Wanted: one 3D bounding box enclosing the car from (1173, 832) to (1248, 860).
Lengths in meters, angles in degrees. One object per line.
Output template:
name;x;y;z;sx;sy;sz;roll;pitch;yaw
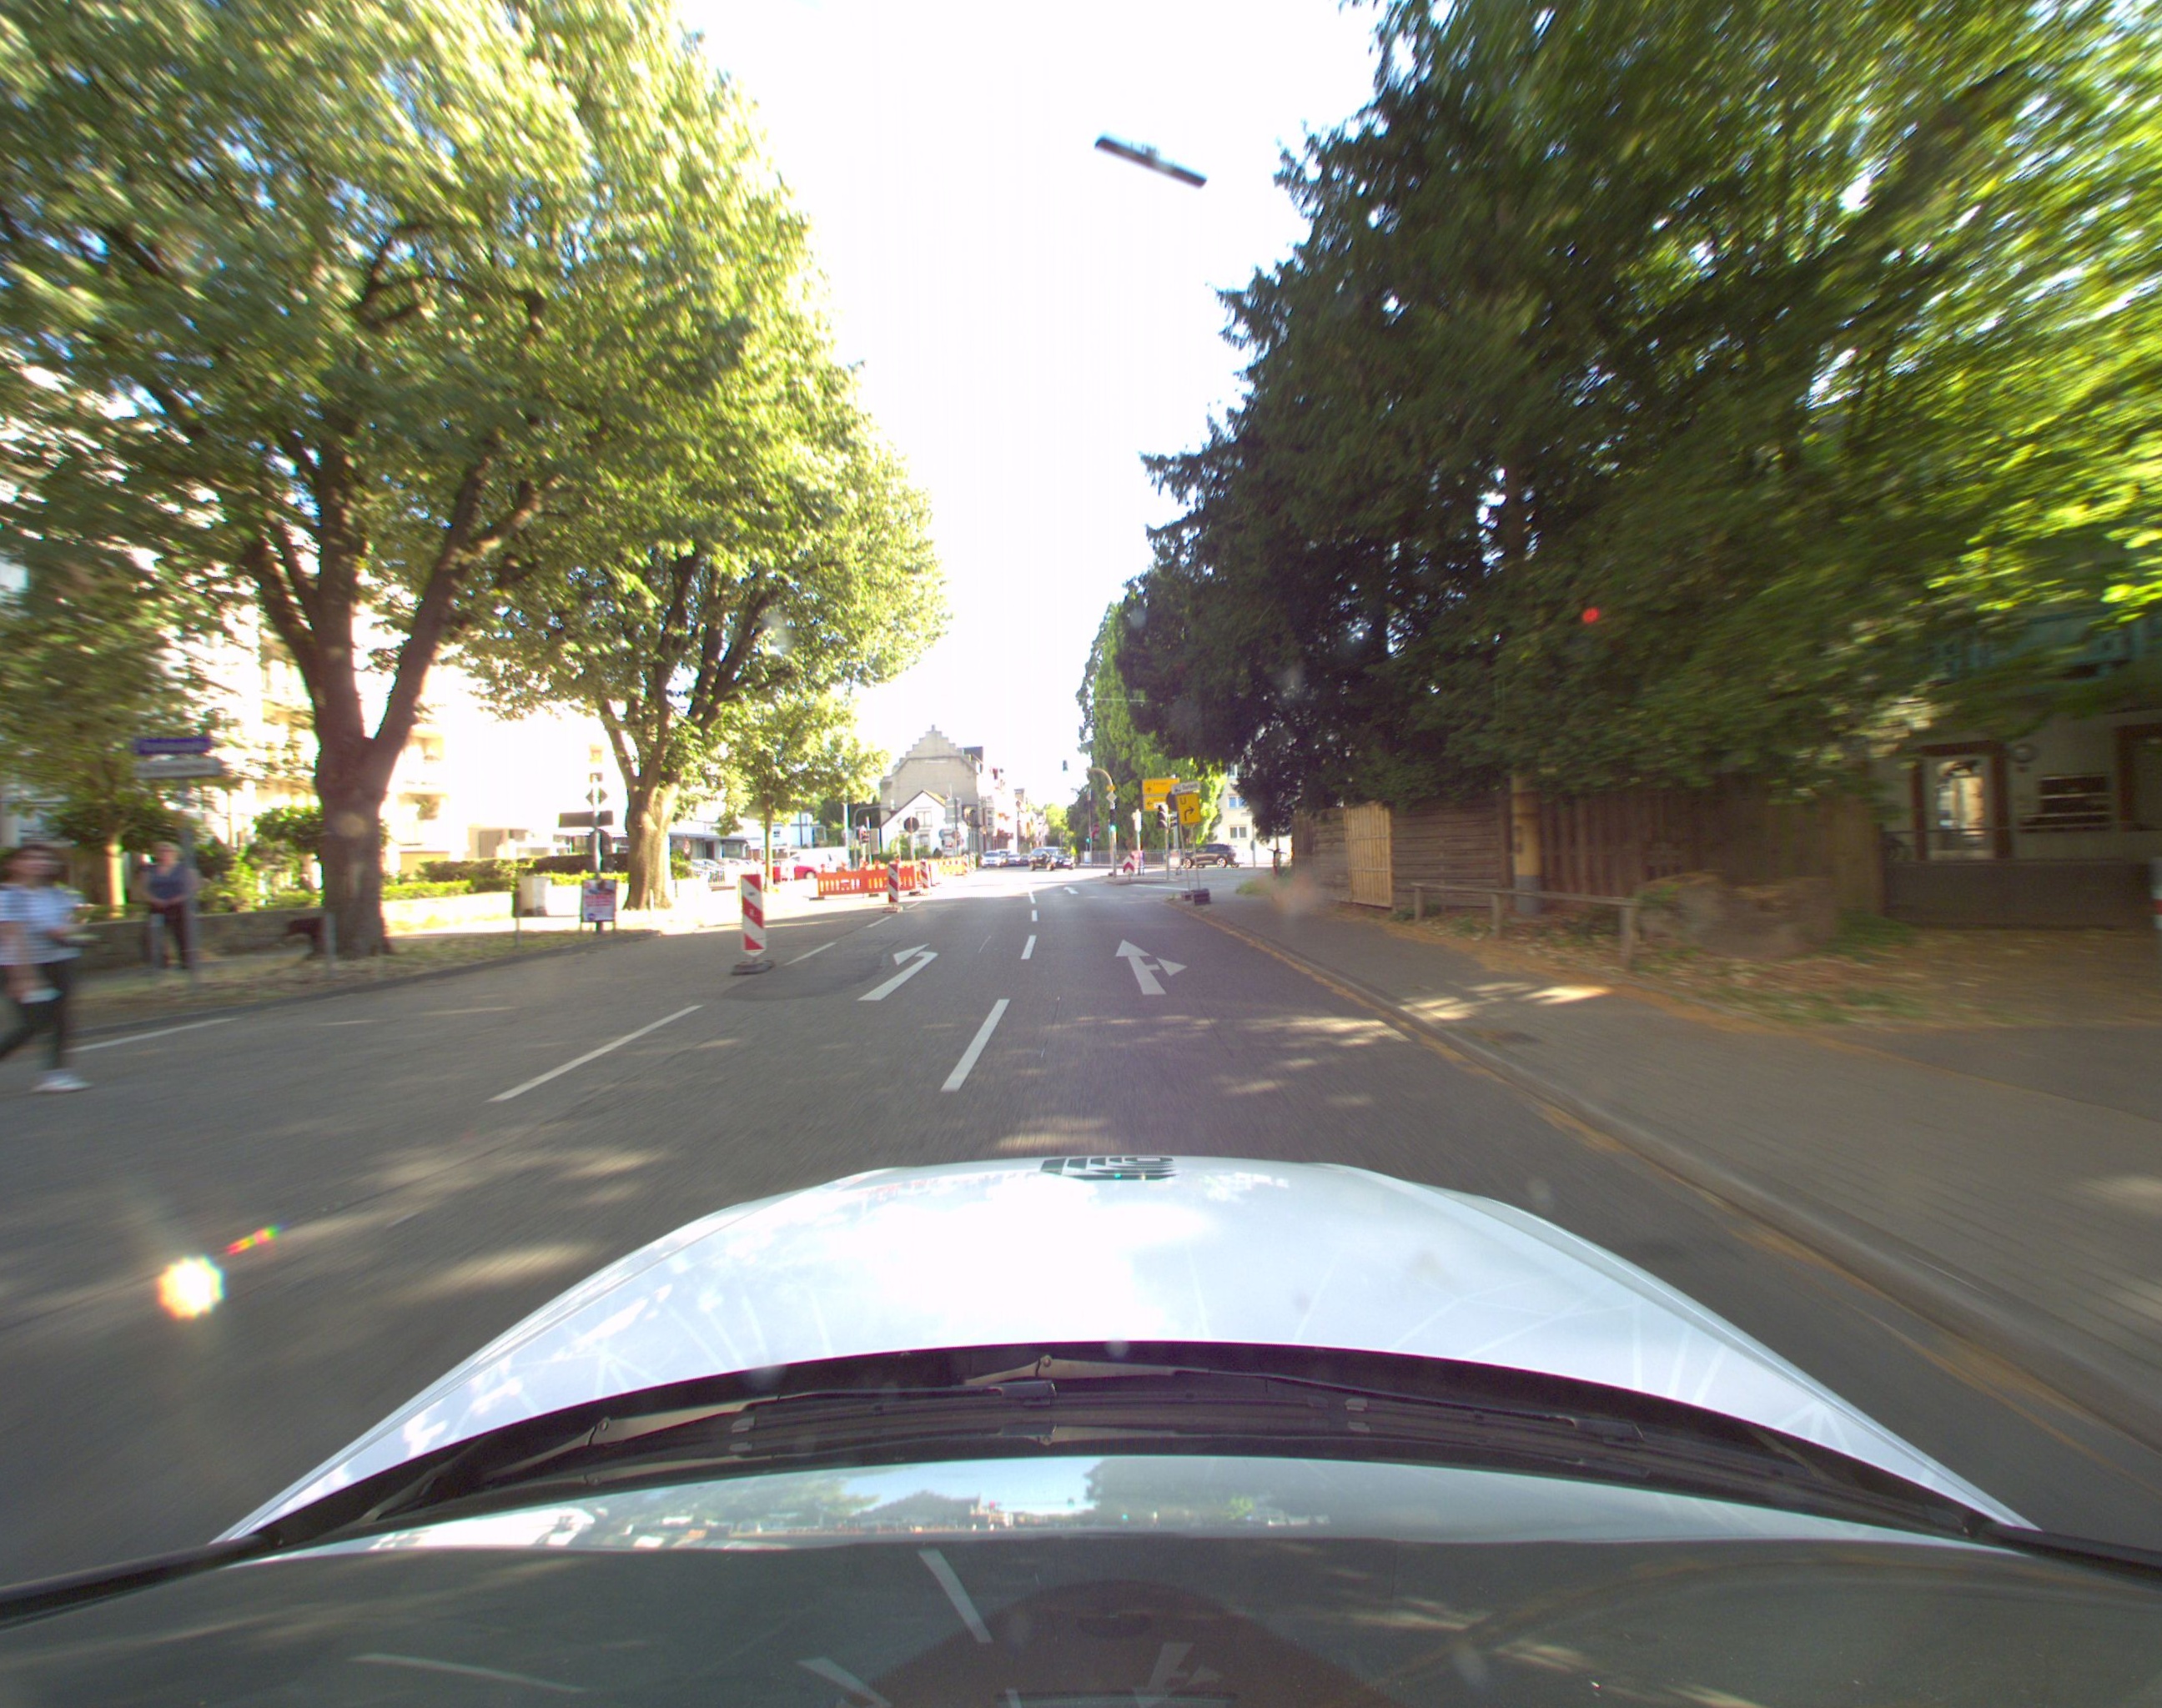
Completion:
car;8.636;-0.512;54.437;4.605;1.670;2.012;-1;-2;42

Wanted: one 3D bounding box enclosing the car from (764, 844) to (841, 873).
car;-18.094;0.272;53.007;4.300;1.851;2.000;-1;1;0

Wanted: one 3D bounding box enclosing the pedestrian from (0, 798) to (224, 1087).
pedestrian;-7.122;0.551;5.642;1.038;1.781;1.193;-2;0;5

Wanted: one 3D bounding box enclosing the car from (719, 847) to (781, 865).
car;-26.966;0.136;66.421;4.286;1.398;2.006;0;1;10

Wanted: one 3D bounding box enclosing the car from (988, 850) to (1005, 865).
car;-8.881;0.361;85.607;1.773;1.480;4.088;-1;1;-6

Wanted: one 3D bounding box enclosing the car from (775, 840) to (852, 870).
car;-18.295;0.061;55.872;4.659;1.964;2.114;-1;1;-5

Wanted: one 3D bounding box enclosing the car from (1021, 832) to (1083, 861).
car;-2.005;-0.516;55.615;2.010;1.815;4.203;-5;3;-38

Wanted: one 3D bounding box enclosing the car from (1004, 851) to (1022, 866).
car;-7.930;0.539;95.371;1.770;1.648;4.532;-1;1;-1

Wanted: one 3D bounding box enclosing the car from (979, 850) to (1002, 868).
car;-8.224;0.465;74.024;1.776;1.543;3.985;-1;1;-11

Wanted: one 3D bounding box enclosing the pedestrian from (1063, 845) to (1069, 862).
pedestrian;-1.503;-0.029;81.657;0.600;1.693;0.612;-3;0;0

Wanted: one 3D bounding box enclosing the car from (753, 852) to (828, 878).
car;-17.906;0.662;50.409;3.987;1.479;1.995;-1;0;-7

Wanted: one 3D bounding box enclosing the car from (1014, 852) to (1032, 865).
car;-7.717;0.591;108.996;1.946;1.648;4.285;-1;1;1

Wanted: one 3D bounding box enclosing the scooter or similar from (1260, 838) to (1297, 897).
scooter or similar;4.266;0.274;17.661;0.436;1.202;1.258;-5;0;1
